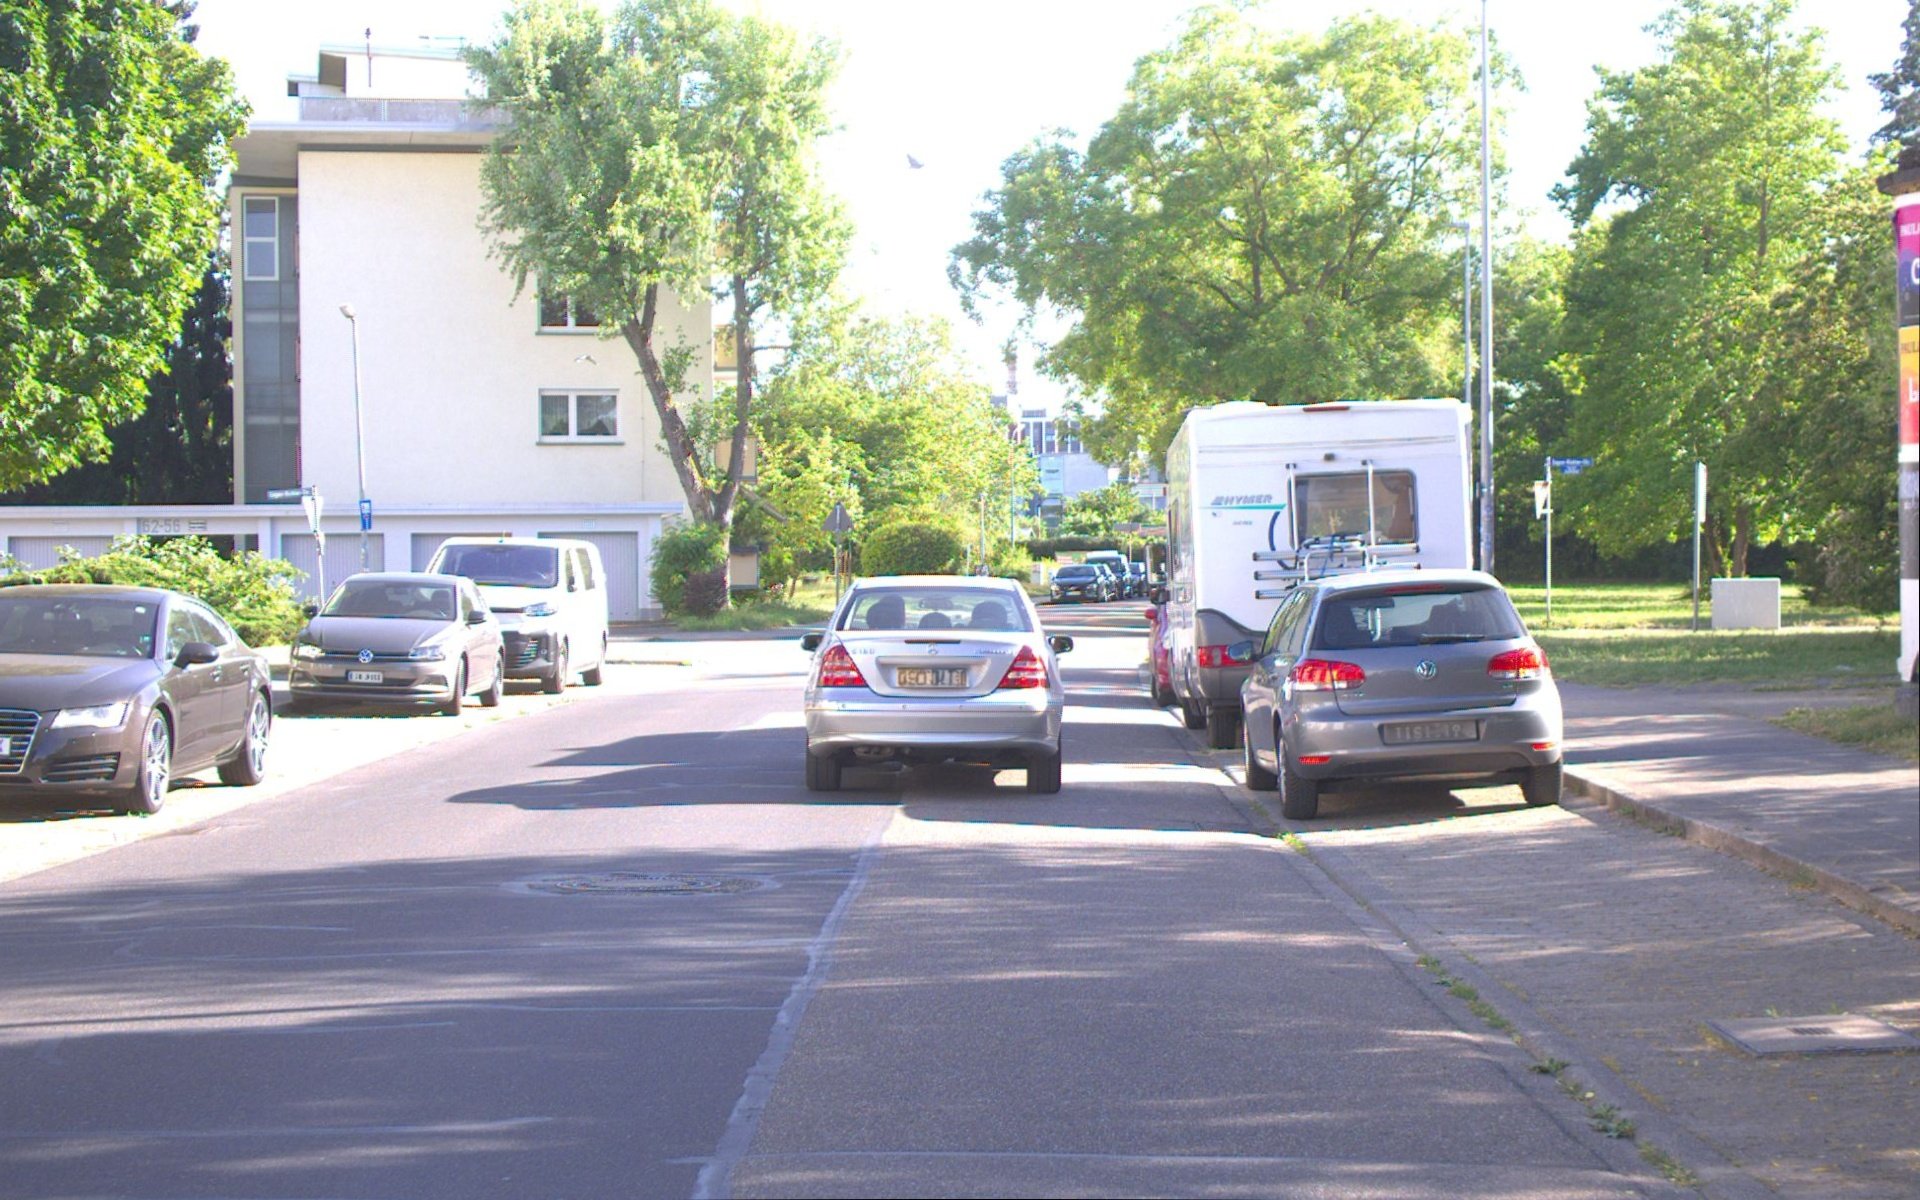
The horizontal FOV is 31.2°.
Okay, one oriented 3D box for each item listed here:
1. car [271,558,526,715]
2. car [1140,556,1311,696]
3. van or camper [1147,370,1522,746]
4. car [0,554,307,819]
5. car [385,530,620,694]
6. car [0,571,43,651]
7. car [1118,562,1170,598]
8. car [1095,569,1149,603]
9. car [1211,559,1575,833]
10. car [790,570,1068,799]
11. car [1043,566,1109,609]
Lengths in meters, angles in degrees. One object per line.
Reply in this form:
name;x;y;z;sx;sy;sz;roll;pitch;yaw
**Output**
car;-5.840;0.353;36.234;1.833;1.513;4.221;1;0;2
car;2.935;0.255;38.660;1.691;1.469;4.000;-1;1;2
van or camper;3.057;-0.371;29.795;2.496;2.835;6.851;-1;1;0
car;-5.921;0.472;22.860;2.035;1.487;5.256;2;1;1
car;-5.594;0.122;42.724;2.014;1.879;5.190;1;0;2
car;-19.808;0.225;64.751;4.443;1.456;2.042;-1;1;8
car;8.201;-0.883;152.646;1.751;1.515;4.191;-1;0;10
car;6.902;-0.590;146.198;1.751;1.325;3.449;-3;0;12
car;2.740;0.547;22.697;1.720;1.519;4.429;-4;1;0
car;-0.145;0.531;23.316;1.733;1.429;3.438;0;0;2
car;4.327;-0.487;127.737;1.914;1.485;3.835;-3;0;9
